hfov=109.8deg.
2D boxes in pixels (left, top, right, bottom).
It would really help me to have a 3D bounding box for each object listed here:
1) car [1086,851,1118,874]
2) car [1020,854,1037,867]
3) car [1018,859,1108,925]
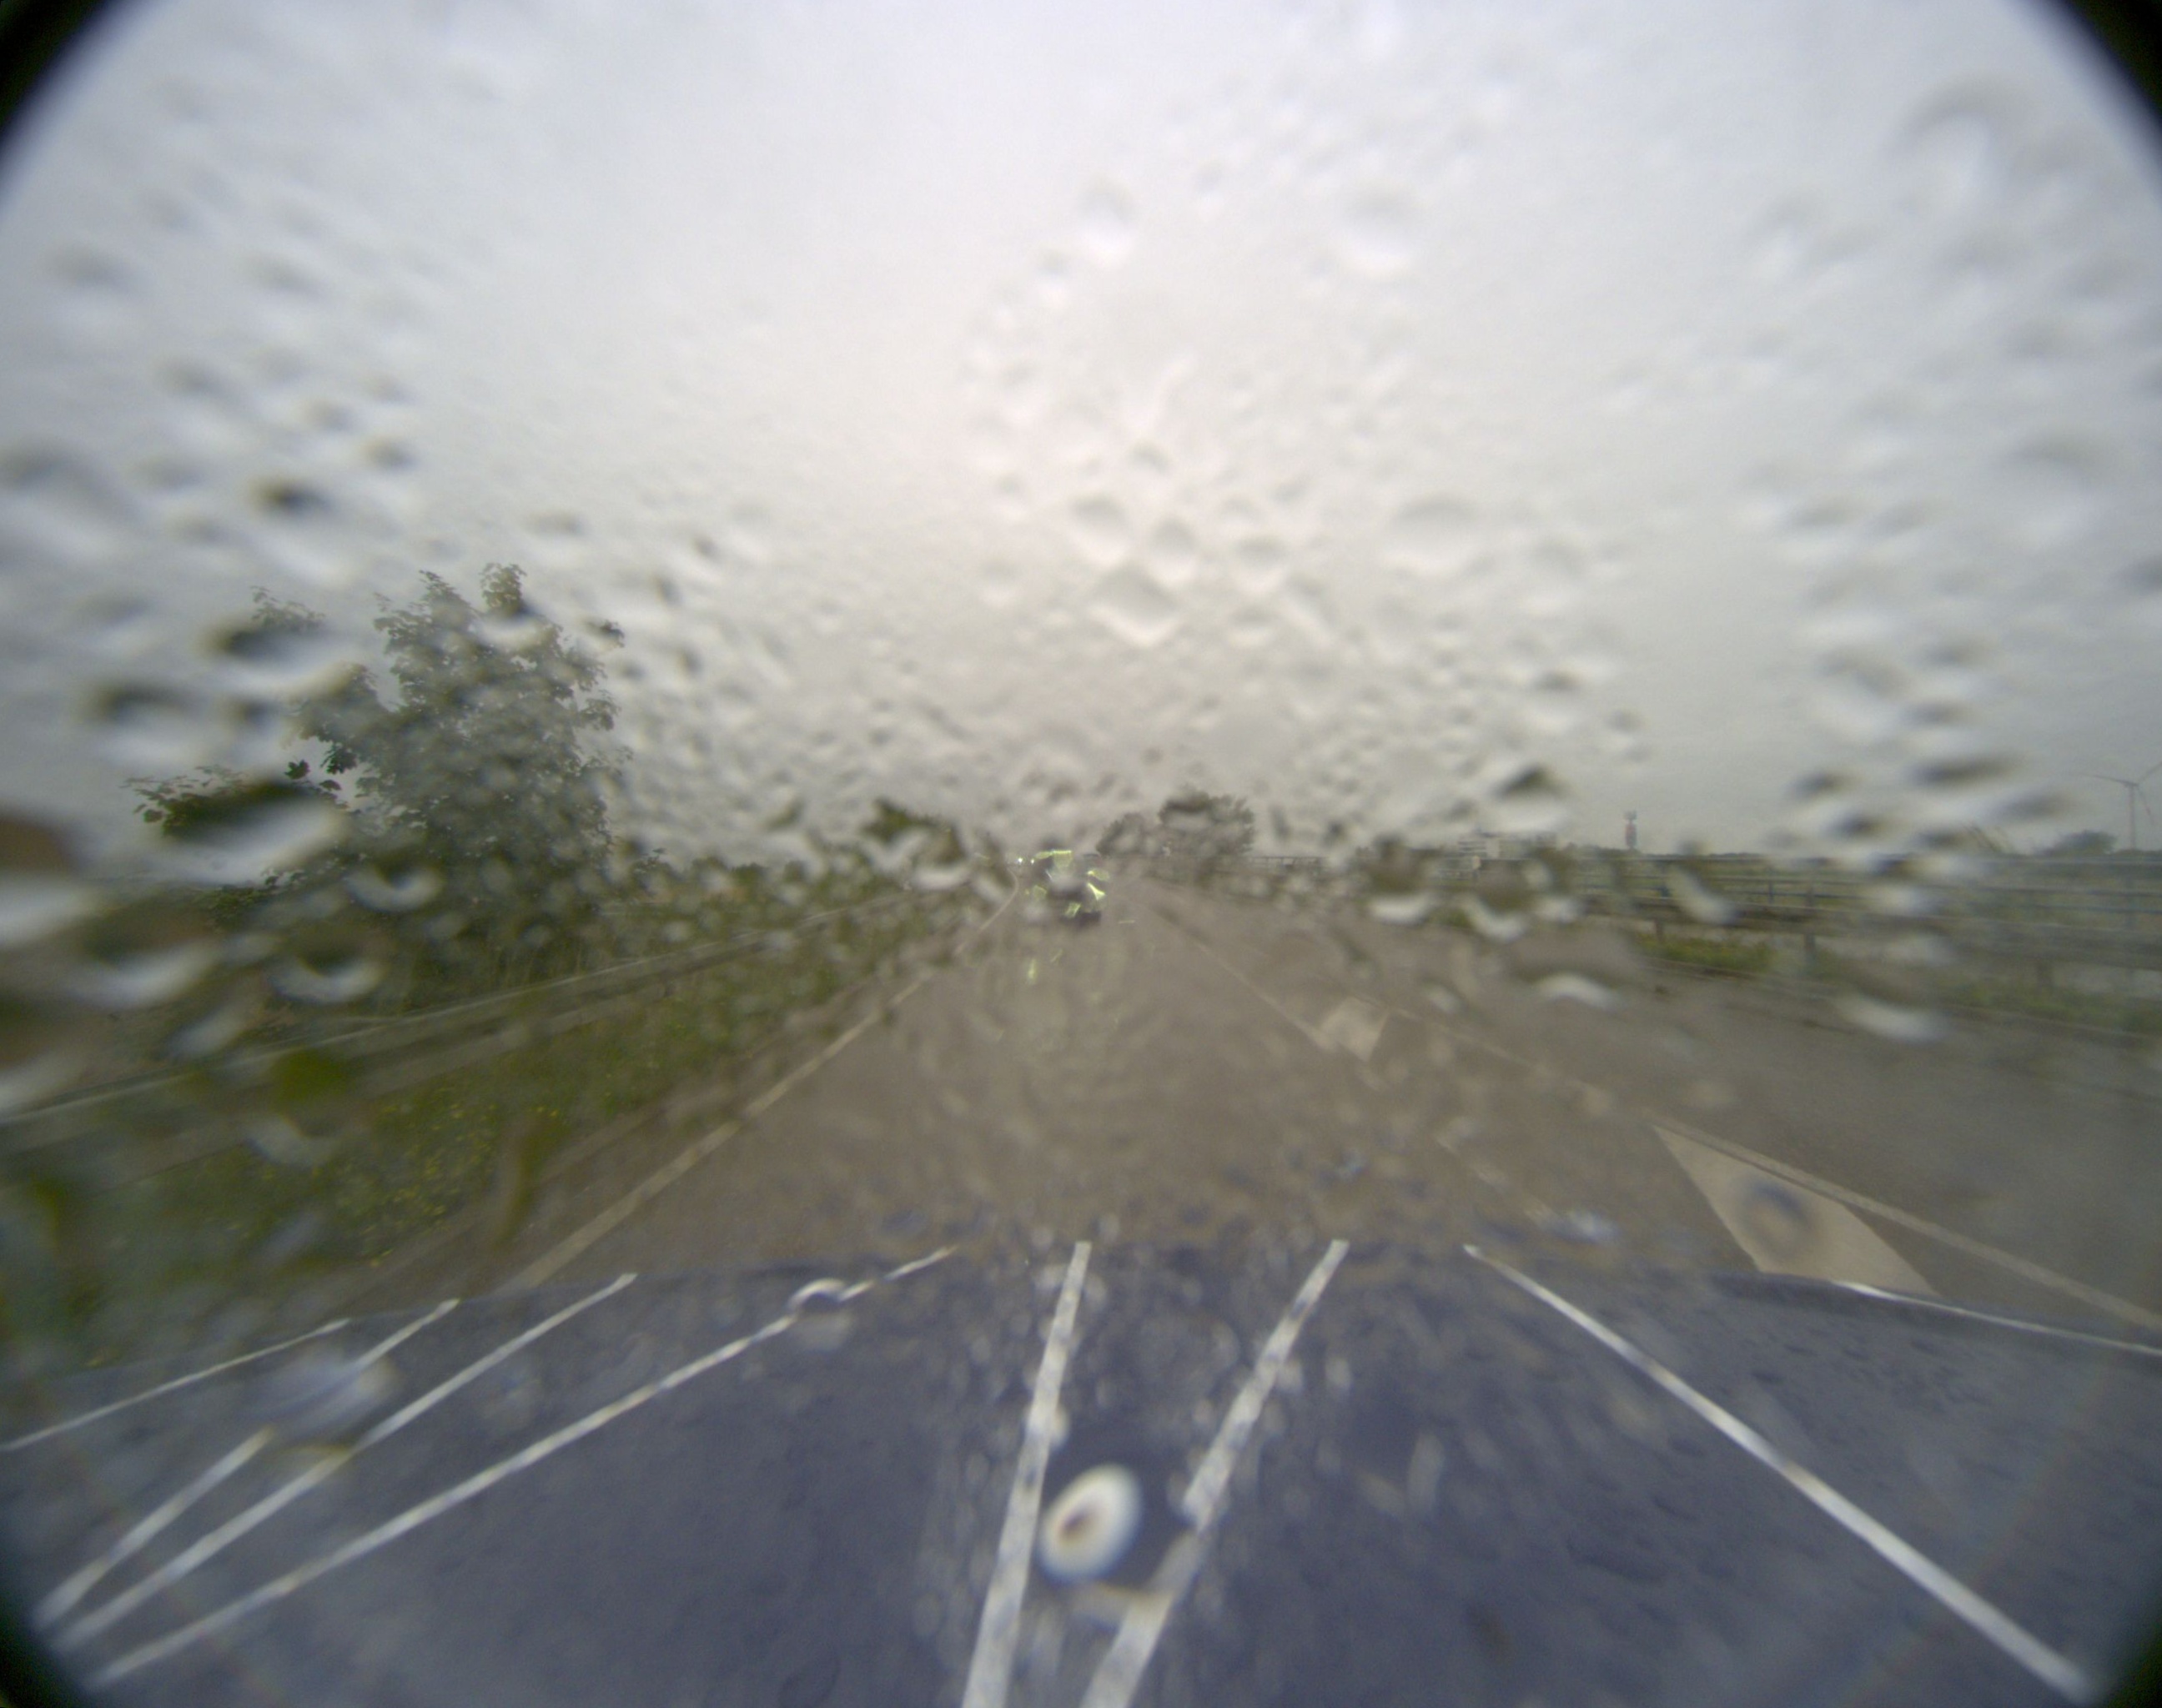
[{"bbox_3d":[1.454,0.575,53.823,1.786,1.517,4.167,0,0,-5],"label":"car"},{"bbox_3d":[-5.853,0.696,84.626,1.910,1.361,4.563,-1,0,-4],"label":"car"},{"bbox_3d":[-0.555,0.832,18.669,1.910,1.361,4.563,-1,0,-4],"label":"car"}]
